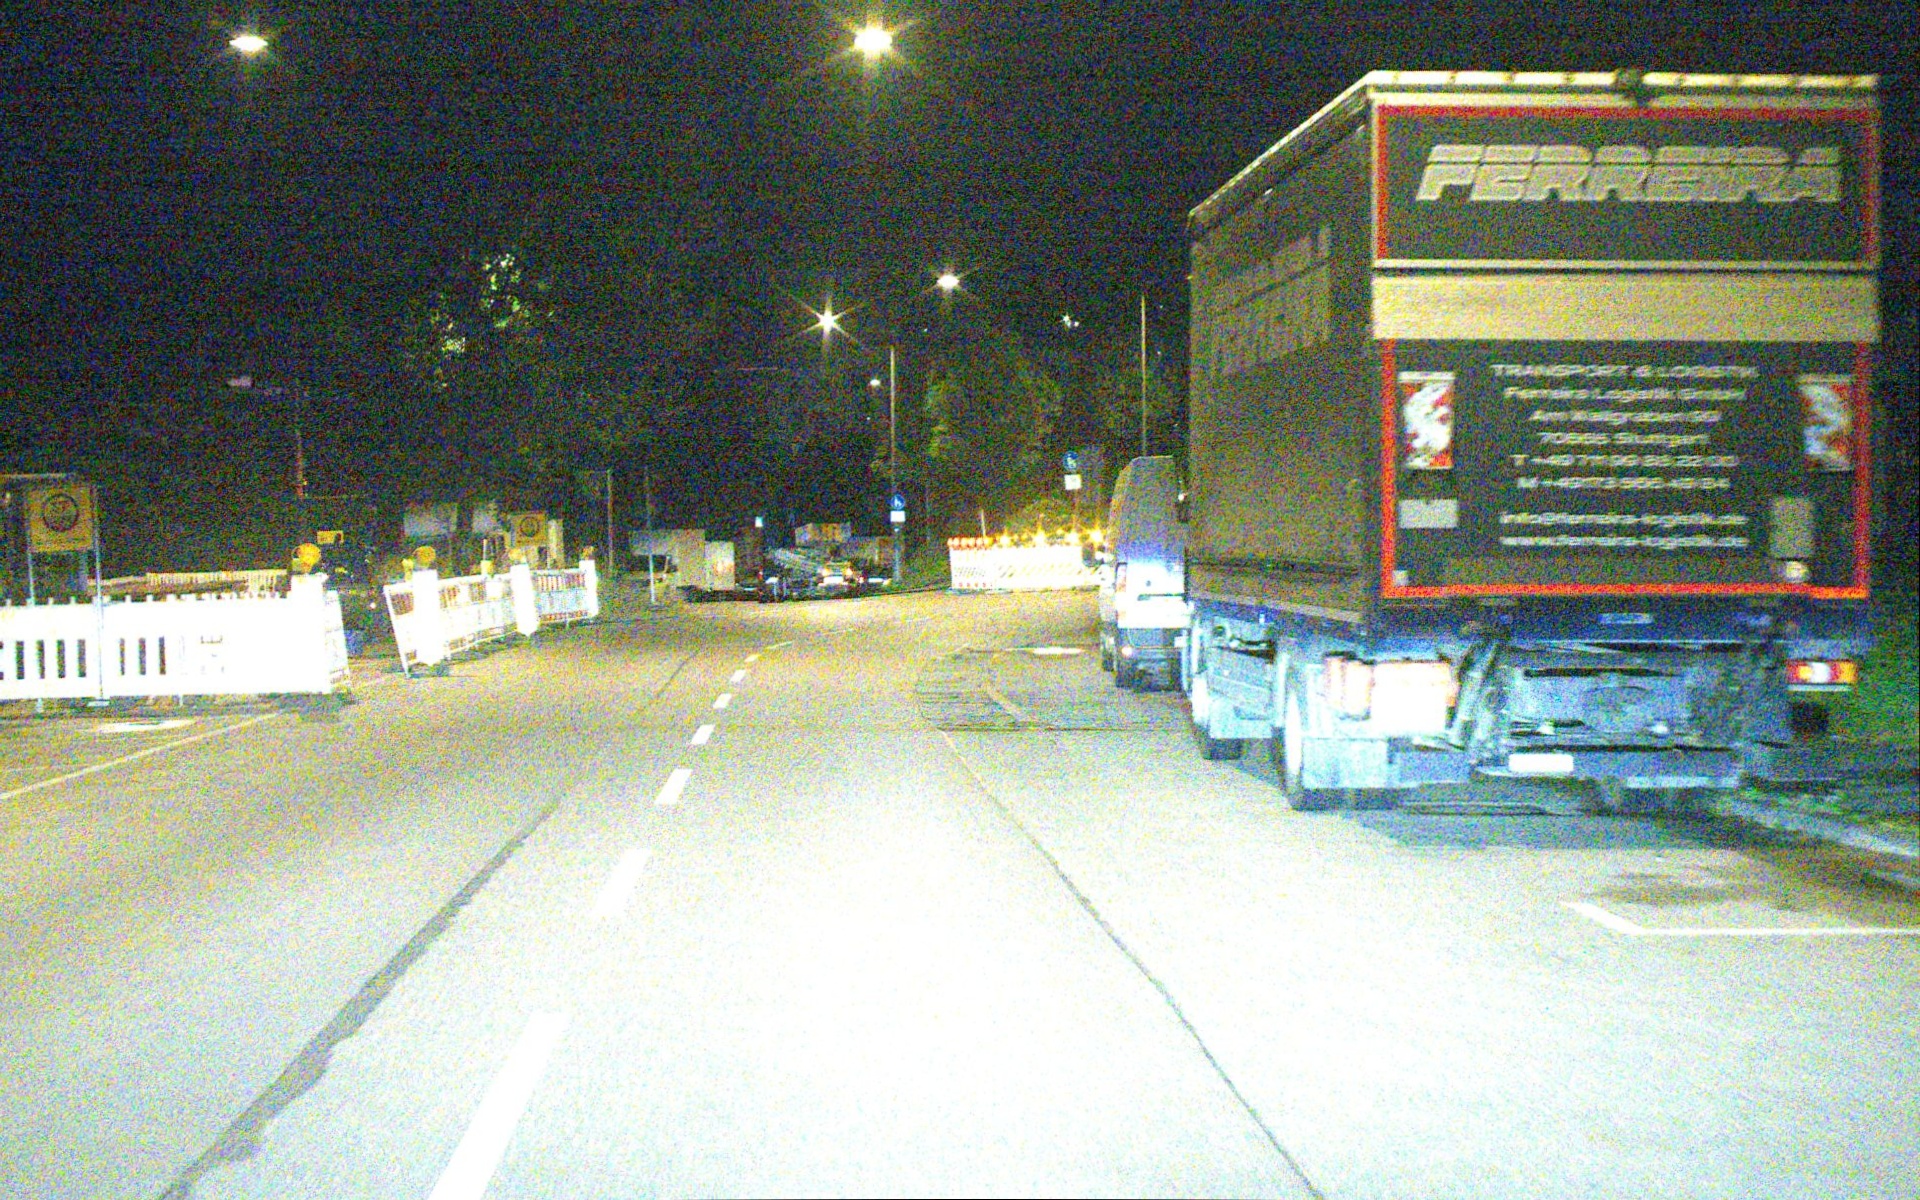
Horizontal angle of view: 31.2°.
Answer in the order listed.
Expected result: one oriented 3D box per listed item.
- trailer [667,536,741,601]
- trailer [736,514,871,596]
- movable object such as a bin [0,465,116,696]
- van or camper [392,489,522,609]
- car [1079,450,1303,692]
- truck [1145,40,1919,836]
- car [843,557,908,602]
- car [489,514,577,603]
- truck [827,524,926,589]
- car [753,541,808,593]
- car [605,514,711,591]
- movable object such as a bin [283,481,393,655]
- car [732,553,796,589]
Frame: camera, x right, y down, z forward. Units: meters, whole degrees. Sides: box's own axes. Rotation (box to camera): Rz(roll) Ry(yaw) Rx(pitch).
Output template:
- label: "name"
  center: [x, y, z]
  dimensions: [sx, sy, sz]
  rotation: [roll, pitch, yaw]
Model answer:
- label: "trailer"
  center: [-11.524, -1.445, 154.966]
  dimensions: [1.994, 2.803, 4.700]
  rotation: [-1, 1, 12]
- label: "trailer"
  center: [-4.522, -1.277, 98.476]
  dimensions: [1.559, 2.153, 5.221]
  rotation: [-3, 0, -30]
- label: "movable object such as a bin"
  center: [-10.529, -0.206, 38.558]
  dimensions: [1.548, 2.459, 2.840]
  rotation: [-2, 1, -23]
- label: "van or camper"
  center: [-13.856, -1.383, 95.199]
  dimensions: [2.519, 3.084, 7.446]
  rotation: [-3, 1, -1]
- label: "car"
  center: [2.507, -0.375, 38.889]
  dimensions: [2.108, 2.507, 6.372]
  rotation: [0, 1, 0]
- label: "truck"
  center: [3.280, -0.845, 21.392]
  dimensions: [3.323, 3.855, 9.329]
  rotation: [0, 1, -3]
- label: "car"
  center: [-3.468, -0.819, 141.833]
  dimensions: [1.721, 1.815, 3.998]
  rotation: [0, 0, 13]
- label: "car"
  center: [-14.913, -1.439, 120.371]
  dimensions: [2.518, 2.917, 7.202]
  rotation: [-3, 1, -4]
- label: "truck"
  center: [-4.385, -2.369, 183.172]
  dimensions: [1.996, 3.392, 8.970]
  rotation: [1, 1, 21]
- label: "car"
  center: [-5.909, -1.064, 113.357]
  dimensions: [1.720, 1.655, 4.000]
  rotation: [0, 0, -2]
- label: "car"
  center: [-12.983, -2.056, 148.320]
  dimensions: [2.520, 3.160, 7.134]
  rotation: [-2, 1, 11]
- label: "movable object such as a bin"
  center: [-10.342, -0.563, 57.347]
  dimensions: [1.570, 2.724, 3.702]
  rotation: [-4, 2, -9]
- label: "car"
  center: [-9.437, -1.388, 165.961]
  dimensions: [1.994, 1.694, 4.204]
  rotation: [0, 0, 13]
